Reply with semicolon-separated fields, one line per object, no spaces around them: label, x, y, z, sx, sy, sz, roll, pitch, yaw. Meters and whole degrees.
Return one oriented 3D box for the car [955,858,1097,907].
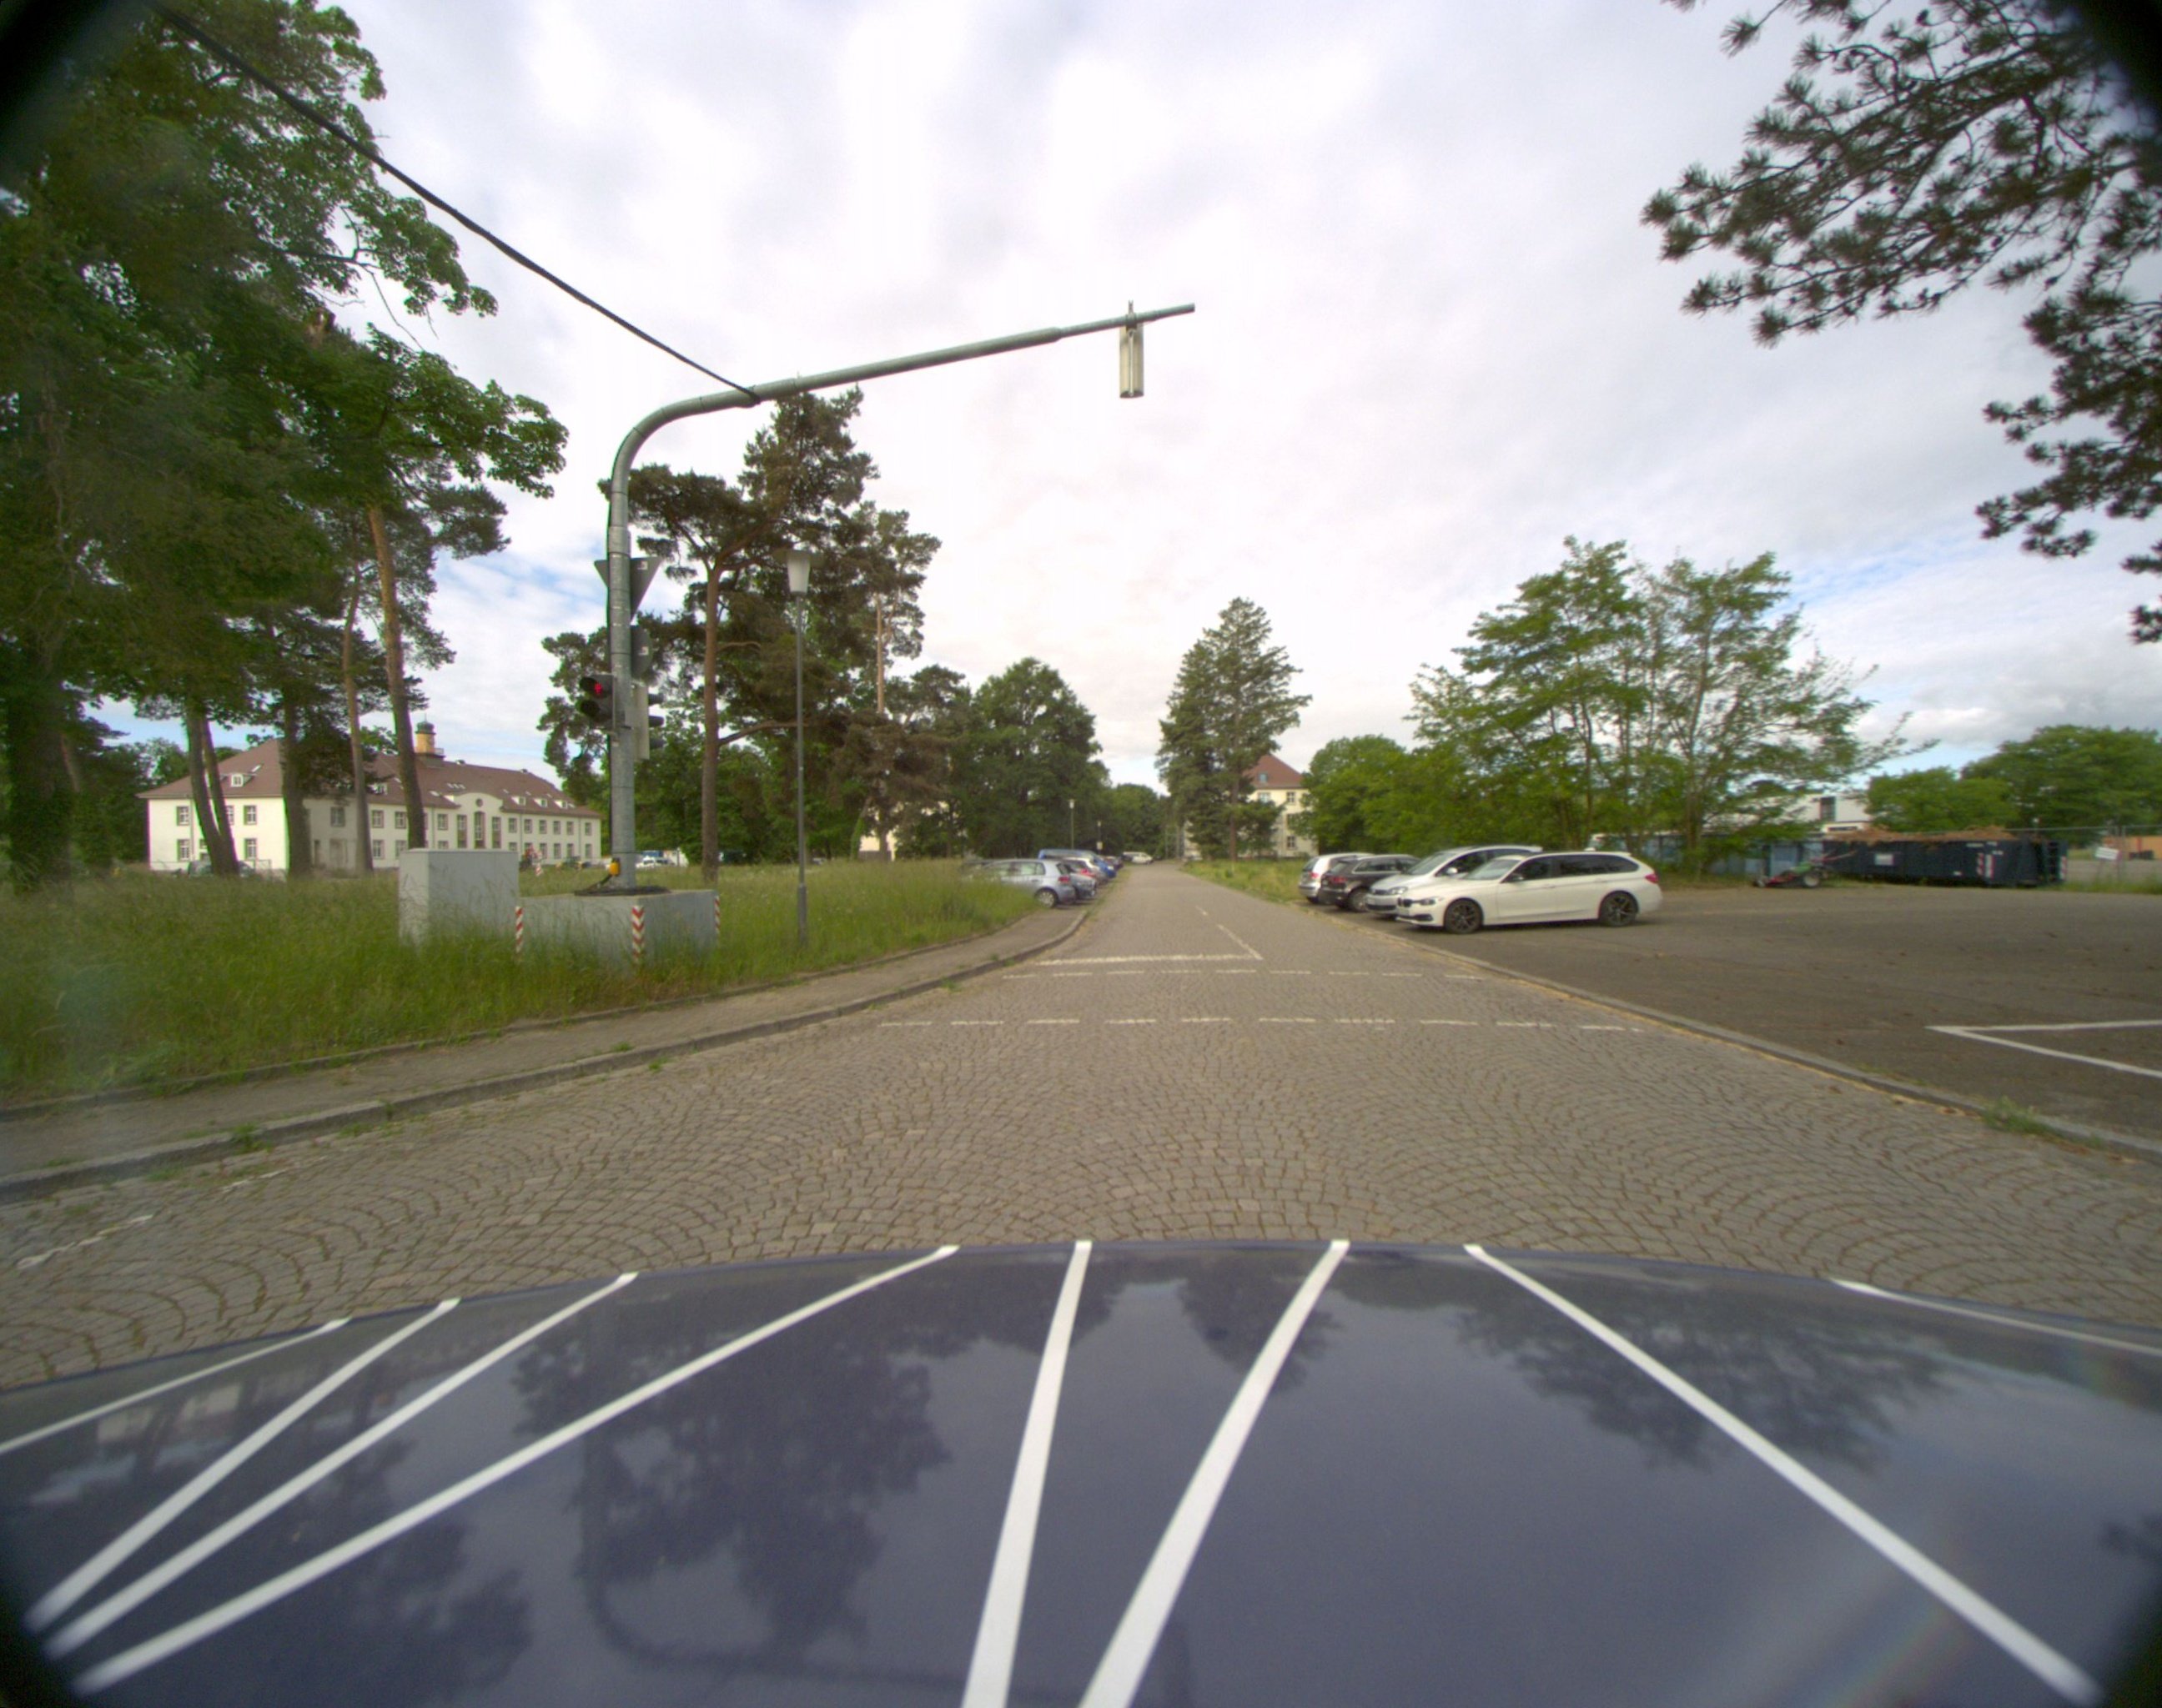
car;-1.734;0.907;25.013;4.438;1.375;1.664;2;0;3

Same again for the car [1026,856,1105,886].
car;-0.818;0.905;40.820;4.048;1.507;1.601;0;0;7

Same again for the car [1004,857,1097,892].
car;-1.364;0.921;35.095;4.048;1.507;1.601;0;0;7

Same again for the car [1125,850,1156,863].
car;10.044;0.419;128.613;5.147;2.137;1.775;0;0;1

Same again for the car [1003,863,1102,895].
car;-1.183;1.045;32.406;4.049;1.233;1.550;0;0;5

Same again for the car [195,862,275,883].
car;-88.362;1.940;79.427;5.792;1.949;2.195;-2;1;0

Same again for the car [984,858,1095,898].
car;-1.618;0.937;30.245;4.182;1.473;1.718;0;0;5

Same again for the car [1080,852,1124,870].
car;2.120;0.707;75.690;4.080;1.685;1.728;0;0;12

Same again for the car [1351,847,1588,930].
car;8.670;0.735;17.216;4.374;1.588;1.872;-2;0;-1

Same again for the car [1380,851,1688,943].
car;8.537;0.798;14.666;4.750;1.479;1.867;-2;-1;2

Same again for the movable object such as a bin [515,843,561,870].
movable object such as a bin;-79.384;0.389;111.081;5.456;3.748;2.054;-1;1;8

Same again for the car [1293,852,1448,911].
car;8.510;0.784;22.563;3.959;1.462;1.585;-3;0;1

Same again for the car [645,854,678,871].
car;-59.200;1.182;107.323;1.861;2.351;4.448;-2;1;5

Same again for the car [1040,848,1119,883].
car;-0.032;0.668;46.191;4.600;1.994;1.913;0;1;6

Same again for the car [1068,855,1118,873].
car;1.053;0.845;65.390;4.082;1.436;1.727;0;0;6

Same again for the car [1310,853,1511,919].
car;8.495;0.798;19.880;4.445;1.416;1.722;-3;0;2

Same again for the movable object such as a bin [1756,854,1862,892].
movable object such as a bin;21.791;0.559;22.780;2.266;1.119;0.858;0;1;3

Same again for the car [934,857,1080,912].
car;-2.110;0.871;22.405;4.010;1.420;1.698;2;0;3

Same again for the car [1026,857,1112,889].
car;-0.568;0.907;37.869;4.095;1.507;1.701;0;0;7

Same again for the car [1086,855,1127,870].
car;2.691;0.883;80.353;4.090;1.524;1.728;0;0;12

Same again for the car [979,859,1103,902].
car;-1.412;0.925;27.743;4.245;1.465;1.718;0;0;7
